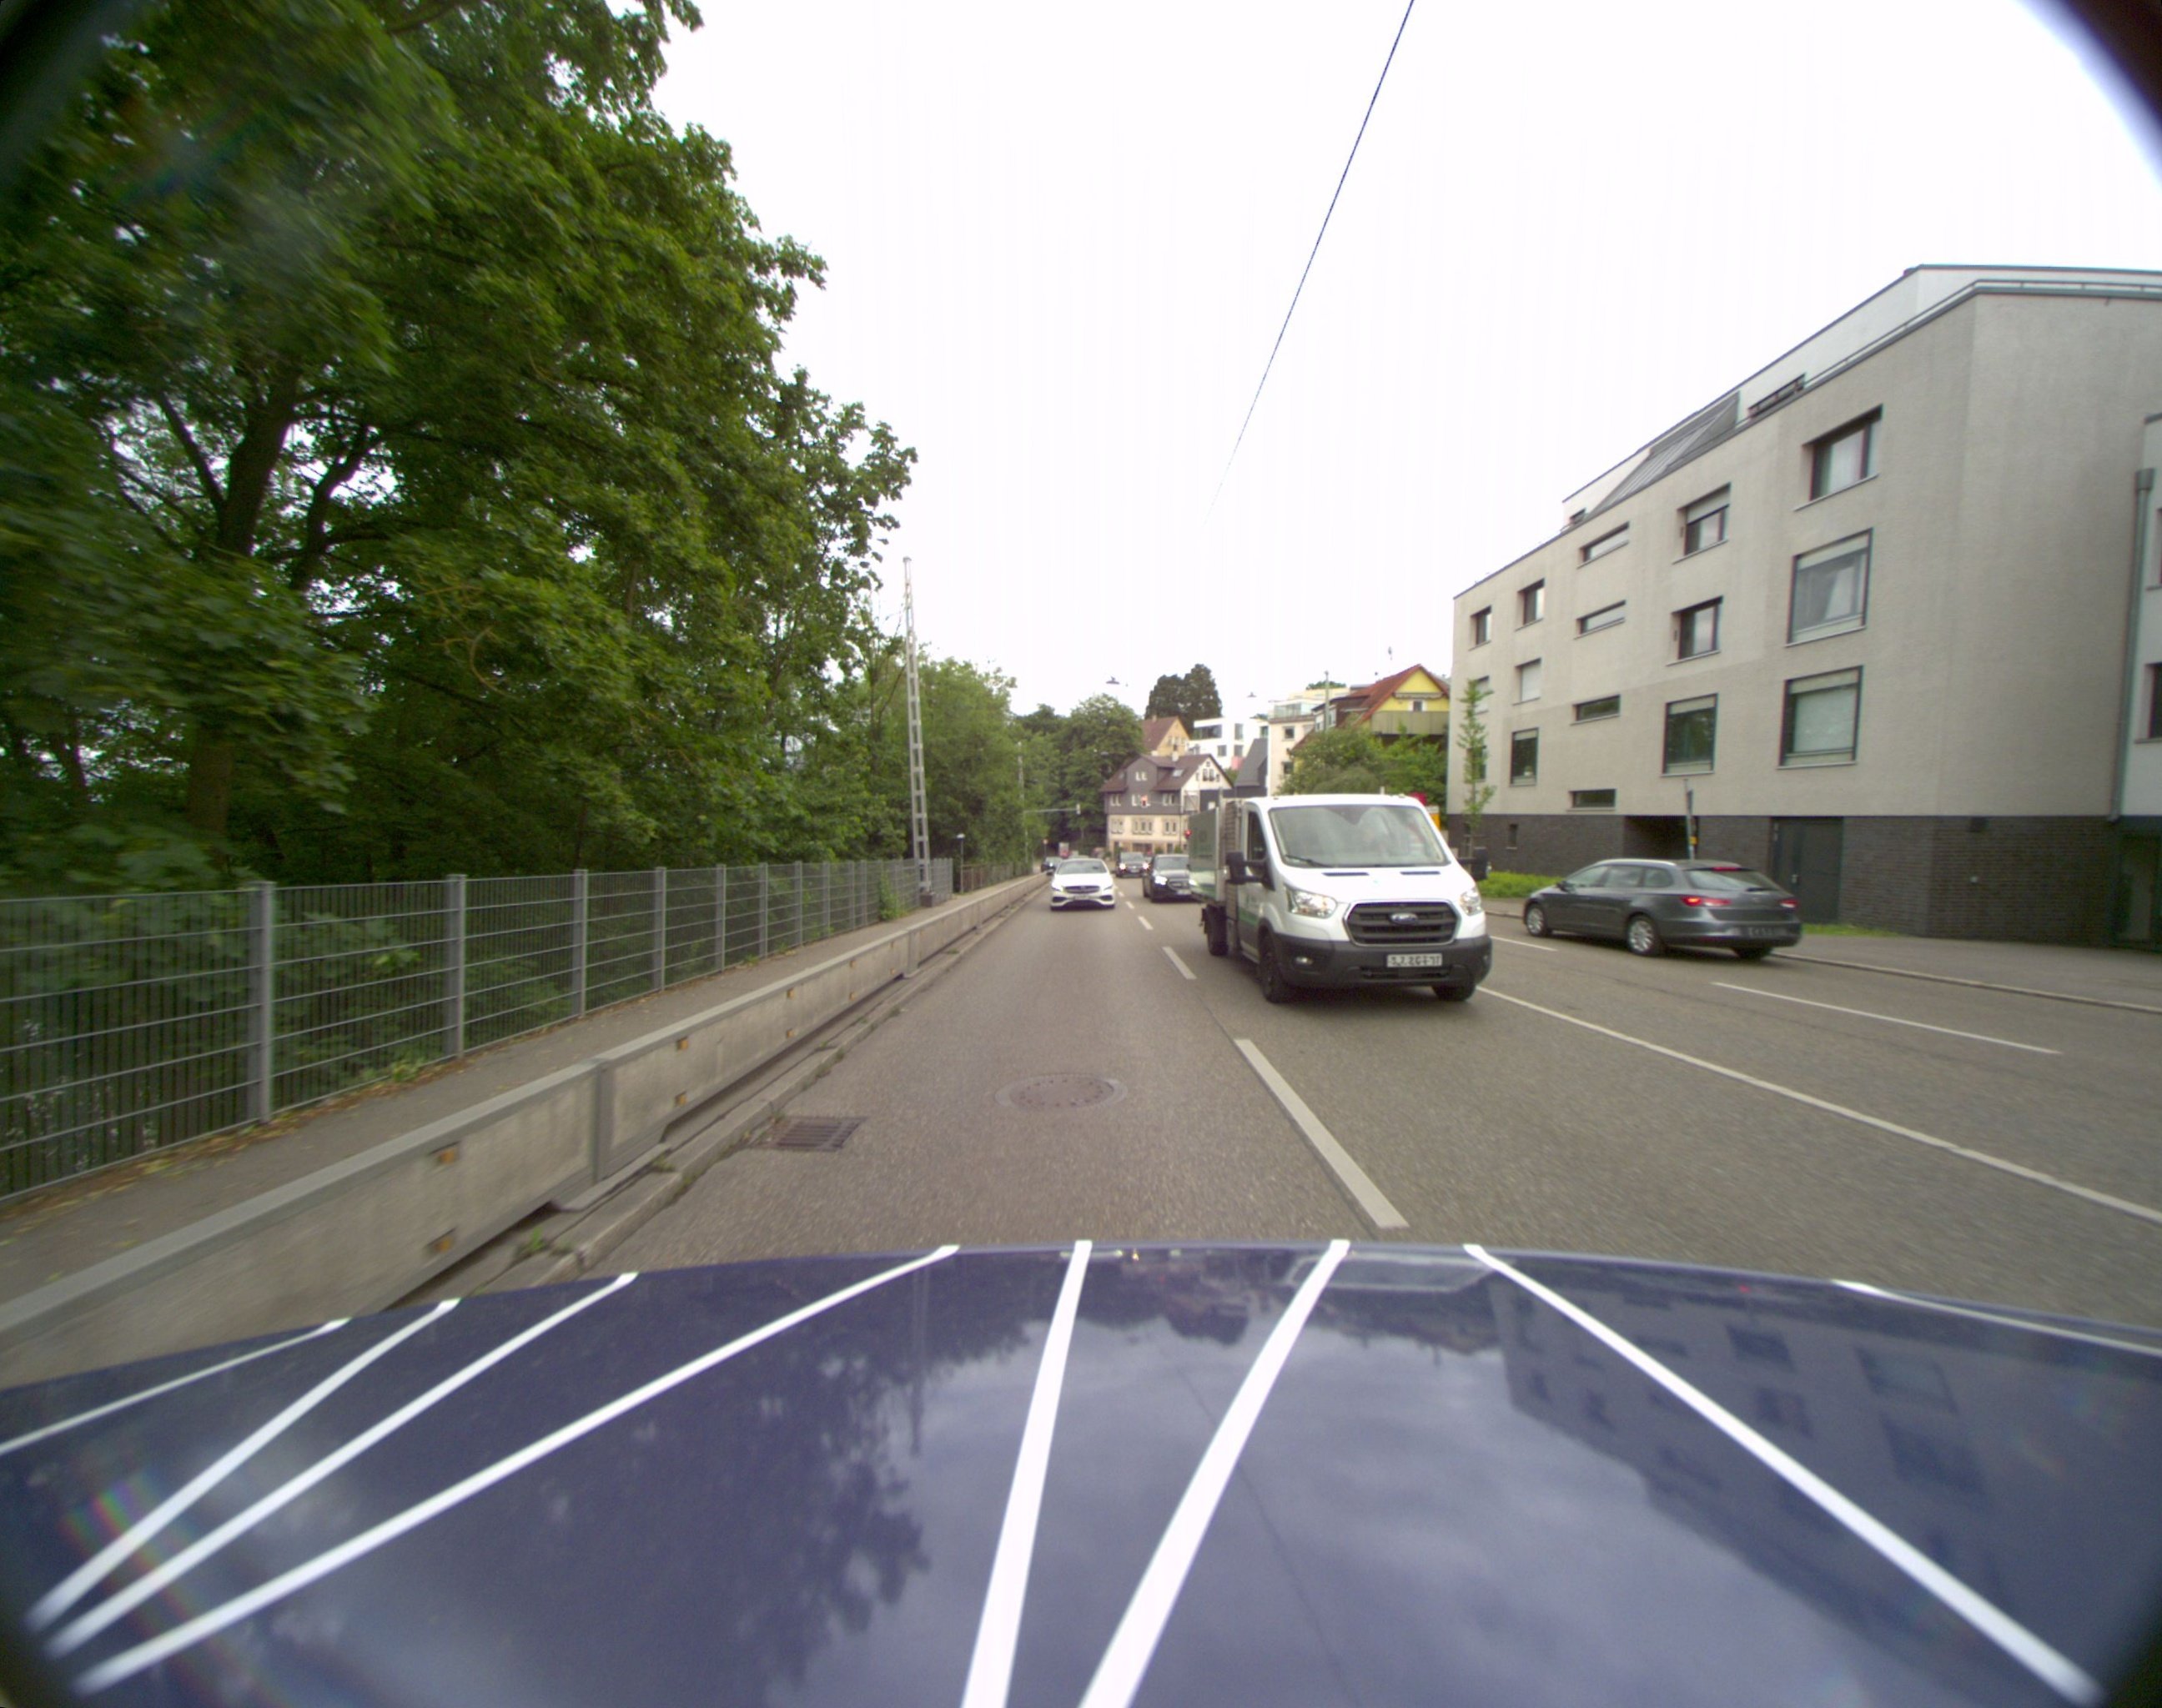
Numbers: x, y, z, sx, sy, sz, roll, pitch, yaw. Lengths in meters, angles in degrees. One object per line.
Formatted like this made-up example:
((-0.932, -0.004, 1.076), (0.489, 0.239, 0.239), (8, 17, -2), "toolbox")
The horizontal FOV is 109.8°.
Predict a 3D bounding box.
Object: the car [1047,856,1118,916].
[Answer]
((0.063, 0.861, 22.072), (1.817, 1.391, 3.999), (-3, 1, 1), "car")

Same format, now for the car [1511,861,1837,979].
((8.964, 0.877, 12.090), (1.737, 1.455, 4.423), (1, 0, 1), "car")

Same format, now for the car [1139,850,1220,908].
((3.026, 0.721, 24.222), (1.916, 1.472, 4.399), (-3, 2, 0), "car")

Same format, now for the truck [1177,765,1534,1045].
((2.715, 0.419, 9.561), (2.081, 2.307, 6.331), (-1, 0, -1), "truck")

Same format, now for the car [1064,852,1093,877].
((-0.126, 0.671, 49.368), (1.777, 1.532, 4.000), (0, 0, 1), "car")

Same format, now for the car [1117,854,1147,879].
((3.170, 0.739, 48.089), (1.693, 1.499, 4.000), (0, 0, 1), "car")

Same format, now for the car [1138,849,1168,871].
((6.005, 0.489, 64.217), (1.901, 1.685, 4.346), (-2, 1, -2), "car")
